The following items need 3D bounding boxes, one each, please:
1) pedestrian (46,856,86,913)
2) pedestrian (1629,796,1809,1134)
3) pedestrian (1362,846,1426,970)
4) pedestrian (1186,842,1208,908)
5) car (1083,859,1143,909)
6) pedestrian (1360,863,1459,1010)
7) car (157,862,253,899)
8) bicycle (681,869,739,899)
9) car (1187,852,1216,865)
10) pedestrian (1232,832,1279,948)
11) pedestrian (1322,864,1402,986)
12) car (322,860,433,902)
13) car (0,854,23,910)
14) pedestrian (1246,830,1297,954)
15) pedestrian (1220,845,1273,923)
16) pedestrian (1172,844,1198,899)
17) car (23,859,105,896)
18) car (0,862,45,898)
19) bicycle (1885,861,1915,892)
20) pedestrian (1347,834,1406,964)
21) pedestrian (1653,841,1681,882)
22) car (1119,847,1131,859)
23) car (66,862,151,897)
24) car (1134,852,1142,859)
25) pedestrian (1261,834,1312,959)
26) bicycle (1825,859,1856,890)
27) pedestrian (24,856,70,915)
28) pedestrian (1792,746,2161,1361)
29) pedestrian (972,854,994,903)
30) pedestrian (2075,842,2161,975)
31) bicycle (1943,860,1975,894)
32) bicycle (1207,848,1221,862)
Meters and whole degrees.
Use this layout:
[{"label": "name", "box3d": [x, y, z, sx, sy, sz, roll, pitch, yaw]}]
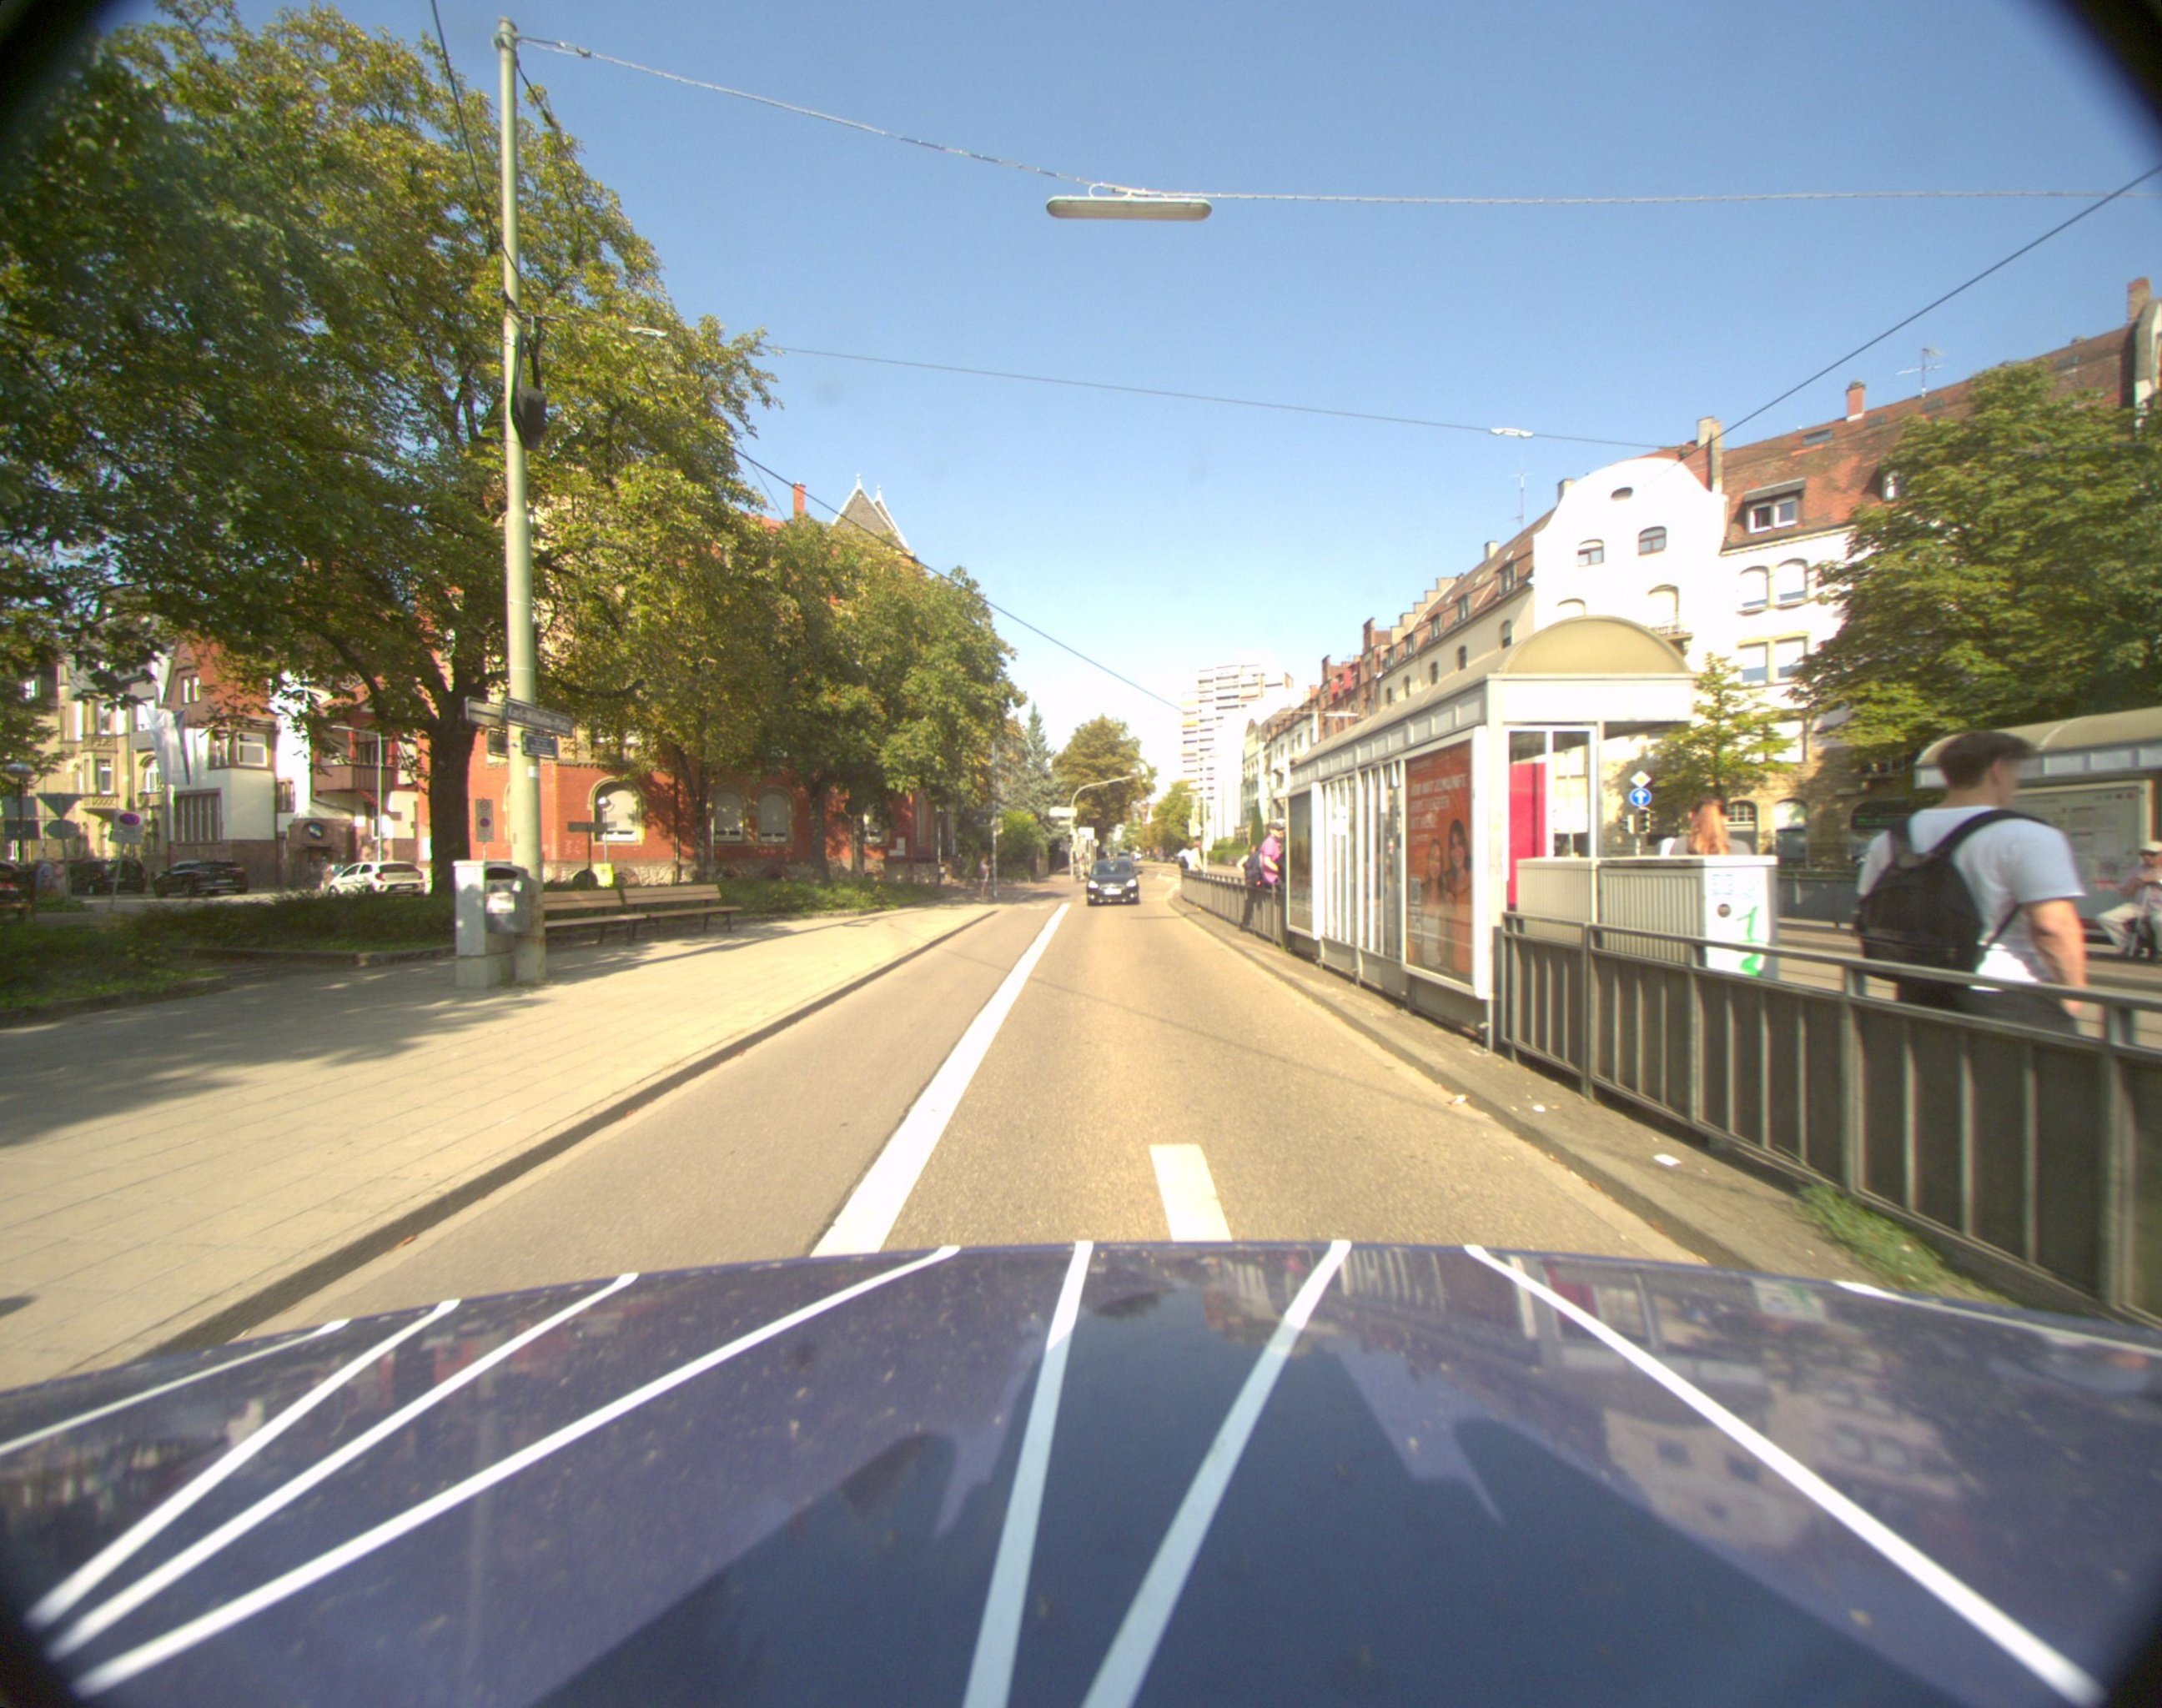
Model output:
[{"label": "pedestrian", "box3d": [-31.737, 0.936, 23.763, 0.592, 1.754, 0.605, -1, 1, -39]}, {"label": "pedestrian", "box3d": [3.507, 0.579, 4.215, 0.553, 1.750, 0.533, -1, 1, 0]}, {"label": "pedestrian", "box3d": [3.974, 0.670, 9.686, 0.590, 1.535, 0.607, 0, 1, 3]}, {"label": "pedestrian", "box3d": [3.217, 0.577, 21.115, 0.560, 1.792, 0.676, 0, 1, 4]}, {"label": "car", "box3d": [1.143, 0.921, 25.134, 1.775, 1.459, 4.001, -1, 0, 5]}, {"label": "pedestrian", "box3d": [3.203, 0.779, 7.459, 0.709, 1.370, 0.622, 0, 1, 1]}, {"label": "car", "box3d": [-39.668, 1.178, 34.410, 3.990, 1.558, 1.624, -1, 0, 22]}, {"label": "bicycle", "box3d": [-14.179, 1.142, 29.084, 0.607, 1.052, 1.843, -4, -1, 43]}, {"label": "car", "box3d": [19.111, 0.759, 120.530, 4.005, 2.002, 1.996, 0, 0, -25]}, {"label": "pedestrian", "box3d": [2.816, 0.569, 12.283, 0.638, 1.837, 0.634, 0, 1, 3]}, {"label": "pedestrian", "box3d": [3.189, 0.786, 8.675, 0.688, 1.332, 0.622, 0, 1, 1]}, {"label": "car", "box3d": [-27.418, 1.018, 29.595, 3.990, 1.558, 1.624, -1, 0, 22]}, {"label": "car", "box3d": [-32.578, 0.826, 20.626, 1.659, 1.628, 4.202, 0, 0, 22]}, {"label": "pedestrian", "box3d": [2.906, 0.563, 11.613, 0.638, 1.837, 0.634, 0, 1, 3]}, {"label": "pedestrian", "box3d": [3.591, 0.639, 16.534, 0.815, 1.645, 0.866, -1, 1, -13]}, {"label": "pedestrian", "box3d": [3.471, 0.589, 25.328, 0.730, 1.759, 0.739, -2, -2, 4]}, {"label": "car", "box3d": [-54.017, 1.222, 40.353, 3.990, 1.911, 1.624, -1, 0, 22]}, {"label": "car", "box3d": [-60.627, 1.456, 42.864, 3.990, 1.911, 1.624, -1, 0, 22]}, {"label": "bicycle", "box3d": [30.190, 0.805, 27.984, 2.346, 1.073, 0.695, -1, 1, -41]}, {"label": "pedestrian", "box3d": [4.001, 0.595, 10.309, 0.590, 1.711, 0.607, 0, 1, 3]}, {"label": "pedestrian", "box3d": [26.402, 0.333, 34.211, 0.735, 1.857, 0.673, 0, 1, -3]}, {"label": "car", "box3d": [8.053, -0.169, 138.574, 2.087, 2.264, 4.828, -1, 0, 3]}, {"label": "car", "box3d": [-49.239, 1.254, 38.465, 3.990, 1.691, 1.624, -1, 0, 22]}, {"label": "car", "box3d": [14.596, 0.358, 195.620, 1.997, 1.640, 4.002, 0, 0, 6]}, {"label": "pedestrian", "box3d": [2.948, 0.598, 10.918, 0.590, 1.754, 0.607, 0, 1, 3]}, {"label": "bicycle", "box3d": [28.871, 0.769, 28.879, 2.346, 1.073, 0.695, -2, 2, -41]}, {"label": "pedestrian", "box3d": [-31.251, 0.944, 22.978, 0.656, 1.754, 0.605, -1, 1, -37]}, {"label": "pedestrian", "box3d": [3.064, 0.584, 2.584, 0.605, 1.796, 0.730, -1, 1, 0]}, {"label": "pedestrian", "box3d": [-3.463, 0.858, 26.941, 0.543, 1.708, 0.662, 0, 1, 17]}, {"label": "pedestrian", "box3d": [12.057, 0.586, 8.593, 0.678, 1.448, 0.718, 0, 1, 2]}, {"label": "bicycle", "box3d": [30.508, 0.768, 26.414, 2.346, 1.073, 0.695, -2, 2, -41]}, {"label": "bicycle", "box3d": [18.514, 0.140, 105.996, 1.015, 1.847, 3.554, -2, 1, -5]}]
